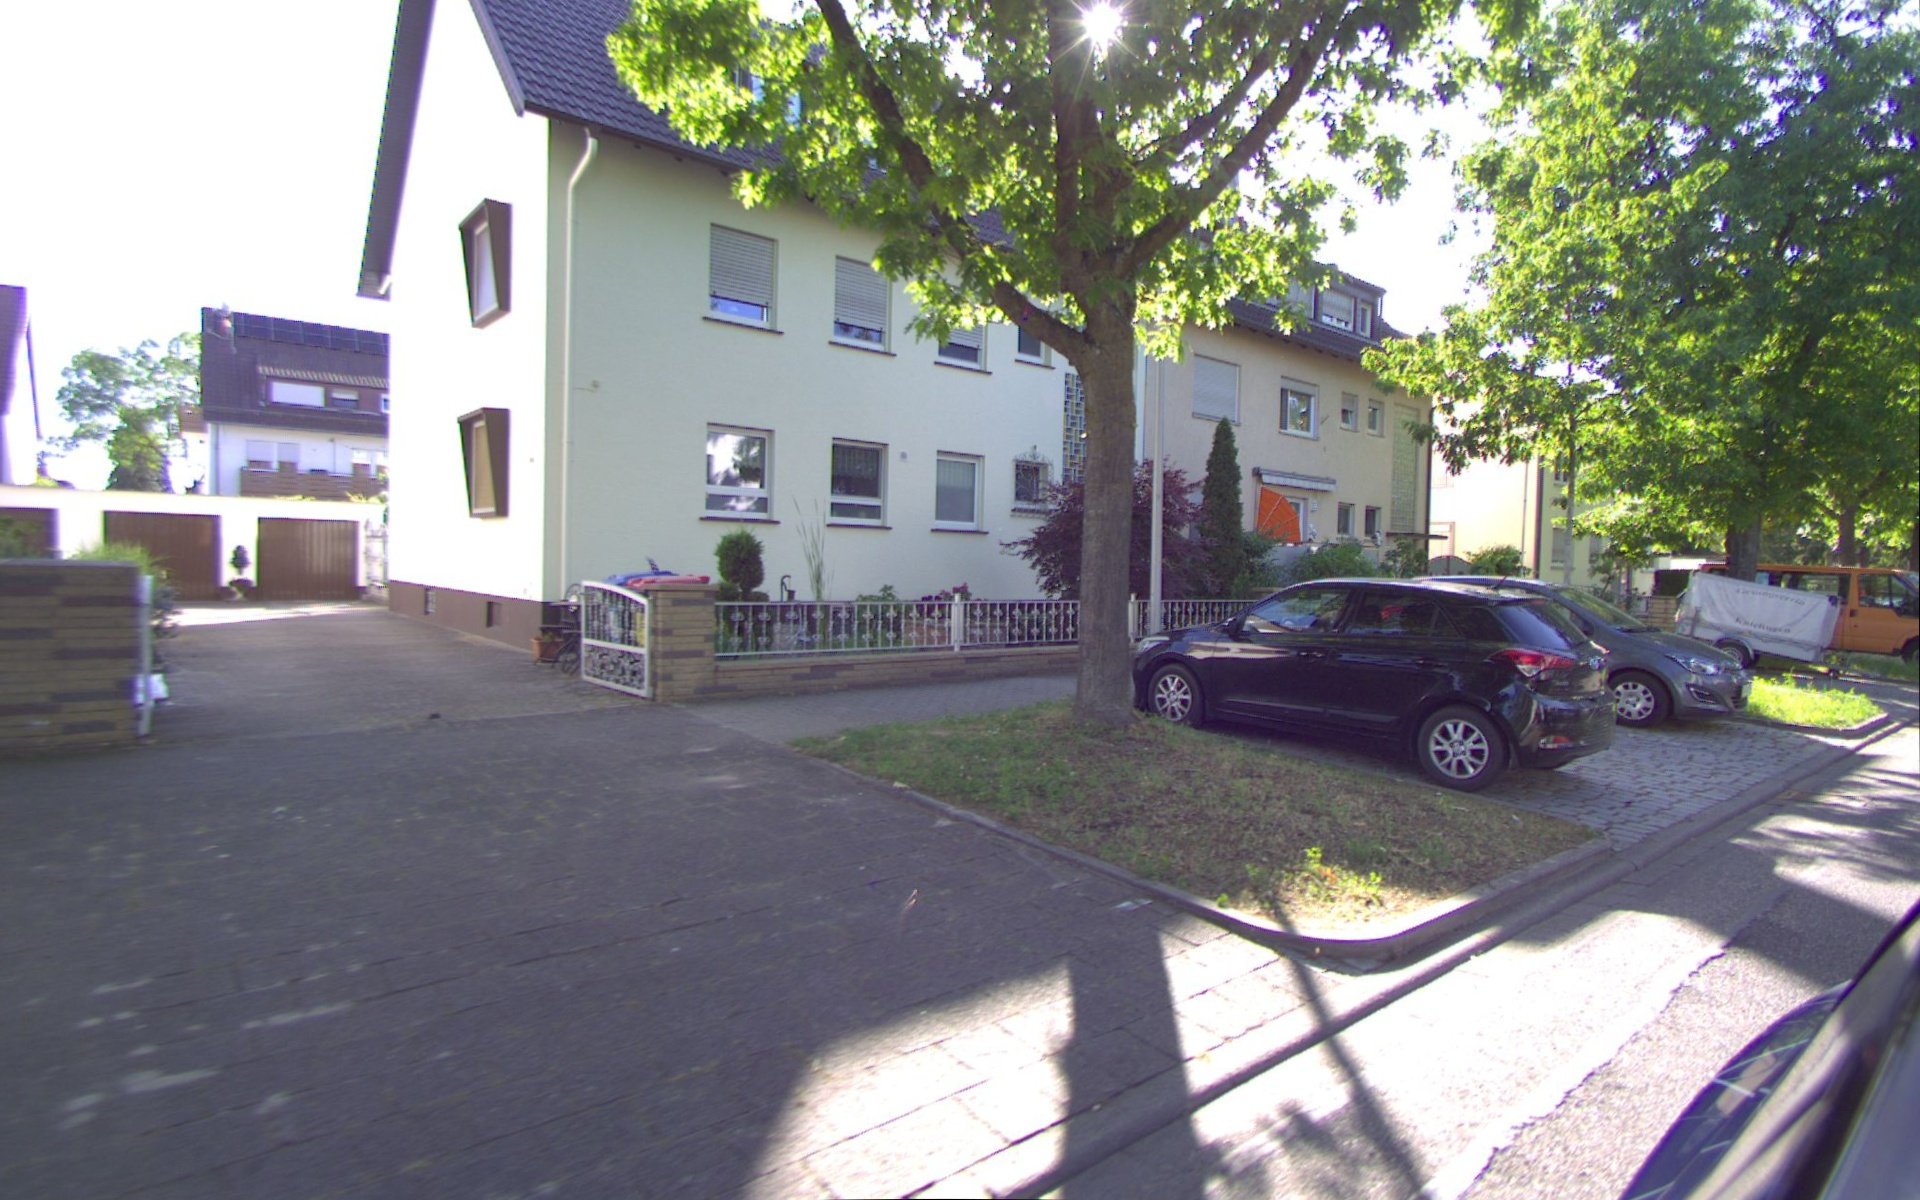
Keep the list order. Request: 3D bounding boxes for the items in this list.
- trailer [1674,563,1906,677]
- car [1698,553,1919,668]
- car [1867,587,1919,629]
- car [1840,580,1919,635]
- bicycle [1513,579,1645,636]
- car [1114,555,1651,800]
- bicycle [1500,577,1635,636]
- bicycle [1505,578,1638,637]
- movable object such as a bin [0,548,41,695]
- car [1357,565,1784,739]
[{"bbox_3d":[14.587,0.269,17.855,1.589,1.684,2.949,-2,5,-45],"label":"trailer"},{"bbox_3d":[18.314,0.172,20.668,2.048,2.109,4.832,0,3,-39],"label":"car"},{"bbox_3d":[34.039,0.380,34.421,1.659,1.347,4.444,0,4,-36],"label":"car"},{"bbox_3d":[30.154,0.296,31.125,1.834,1.579,4.349,0,3,-39],"label":"car"},{"bbox_3d":[15.755,0.145,25.864,0.459,1.252,2.867,-1,4,-38],"label":"bicycle"},{"bbox_3d":[3.333,0.440,8.631,1.631,1.534,3.893,0,3,-39],"label":"car"},{"bbox_3d":[15.055,0.124,25.191,0.459,1.252,2.867,0,3,-38],"label":"bicycle"},{"bbox_3d":[15.380,0.156,25.567,0.459,1.252,2.867,-1,5,-38],"label":"bicycle"},{"bbox_3d":[-7.686,0.159,7.775,0.890,1.112,0.704,-1,3,-41],"label":"movable object such as a bin"},{"bbox_3d":[7.062,0.442,12.036,1.727,1.643,3.994,-1,3,-42],"label":"car"}]
